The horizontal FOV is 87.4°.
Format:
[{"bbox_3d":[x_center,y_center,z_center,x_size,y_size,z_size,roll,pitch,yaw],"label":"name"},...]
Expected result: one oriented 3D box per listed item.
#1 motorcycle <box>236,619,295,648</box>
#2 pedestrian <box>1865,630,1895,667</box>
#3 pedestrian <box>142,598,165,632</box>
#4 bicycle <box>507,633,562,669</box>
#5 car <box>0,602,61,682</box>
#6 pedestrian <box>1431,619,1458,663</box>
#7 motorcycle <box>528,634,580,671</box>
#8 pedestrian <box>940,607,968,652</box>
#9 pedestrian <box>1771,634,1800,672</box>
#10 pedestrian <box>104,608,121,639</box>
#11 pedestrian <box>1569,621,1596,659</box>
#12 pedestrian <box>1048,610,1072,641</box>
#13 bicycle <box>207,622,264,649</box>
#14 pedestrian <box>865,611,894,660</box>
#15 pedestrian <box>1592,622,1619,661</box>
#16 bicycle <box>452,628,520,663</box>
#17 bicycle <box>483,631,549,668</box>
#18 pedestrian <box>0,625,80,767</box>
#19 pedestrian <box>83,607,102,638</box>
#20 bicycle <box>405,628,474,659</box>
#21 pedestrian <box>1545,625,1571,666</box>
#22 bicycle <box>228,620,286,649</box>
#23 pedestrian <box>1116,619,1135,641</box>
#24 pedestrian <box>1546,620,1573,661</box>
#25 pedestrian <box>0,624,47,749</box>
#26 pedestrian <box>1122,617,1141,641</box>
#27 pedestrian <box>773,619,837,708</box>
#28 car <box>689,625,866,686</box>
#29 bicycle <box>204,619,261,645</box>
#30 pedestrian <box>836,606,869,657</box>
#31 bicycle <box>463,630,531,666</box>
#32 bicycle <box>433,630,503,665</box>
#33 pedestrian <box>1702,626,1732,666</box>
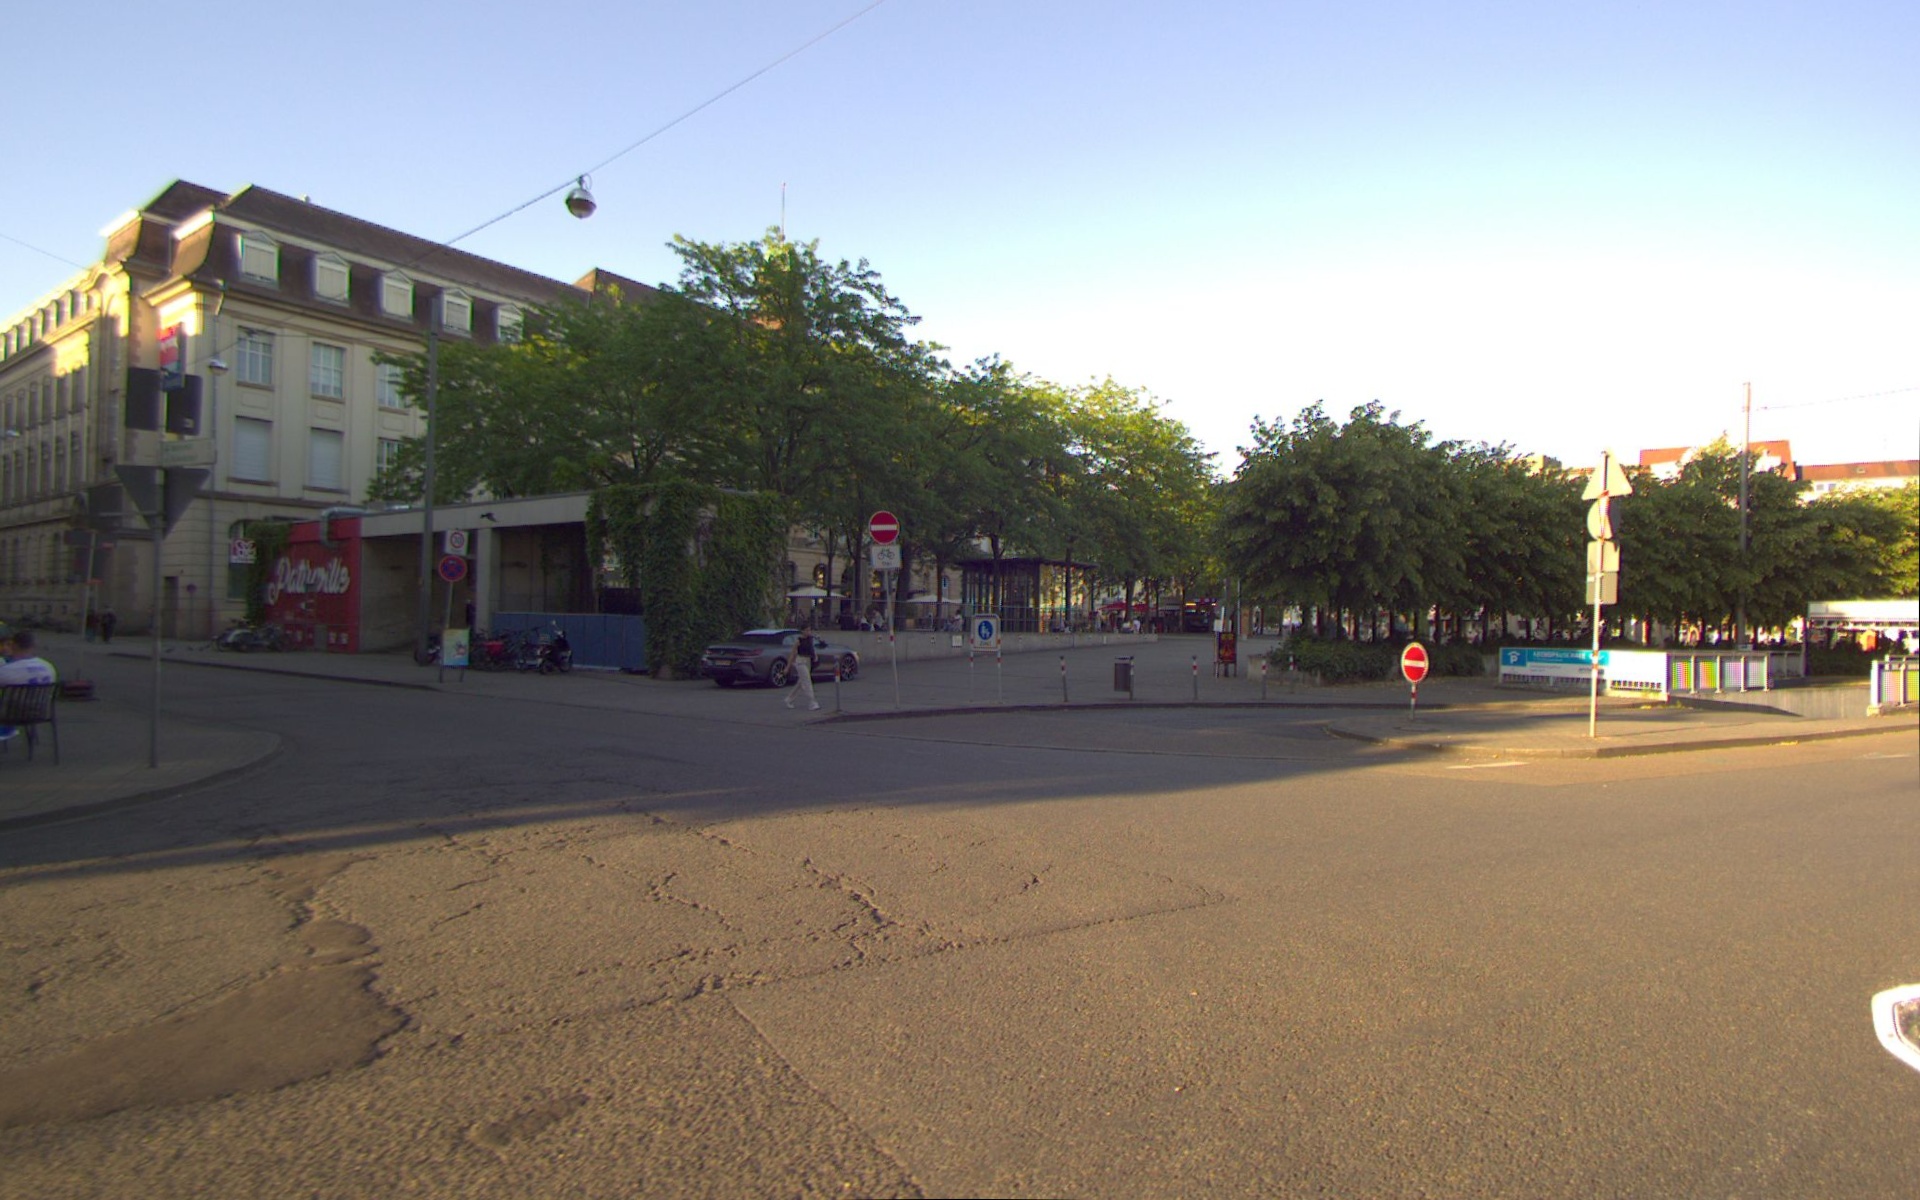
[{"bbox_3d":[-26.778,1.283,38.731,0.503,1.093,1.796,1,0,39],"label":"motorcycle"},{"bbox_3d":[41.446,2.176,45.248,0.558,1.616,0.791,2,0,-10],"label":"pedestrian"},{"bbox_3d":[-38.974,0.716,48.537,0.835,1.619,0.727,1,-1,-42],"label":"pedestrian"},{"bbox_3d":[-11.693,1.375,27.650,0.500,0.892,1.805,1,0,9],"label":"bicycle"},{"bbox_3d":[-21.502,0.862,22.009,3.936,1.617,1.963,1,-1,37],"label":"car"},{"bbox_3d":[18.084,1.518,37.478,0.693,1.616,0.673,2,0,42],"label":"pedestrian"},{"bbox_3d":[-10.947,1.404,27.145,0.500,0.892,1.805,1,0,6],"label":"motorcycle"},{"bbox_3d":[-0.216,1.087,37.121,0.778,1.607,0.652,1,-2,35],"label":"pedestrian"},{"bbox_3d":[35.634,2.288,43.350,0.665,1.616,0.678,2,0,-11],"label":"pedestrian"},{"bbox_3d":[-39.008,1.061,46.234,0.392,1.415,0.517,1,0,33],"label":"pedestrian"},{"bbox_3d":[27.000,1.724,43.589,0.558,1.616,0.791,2,0,-10],"label":"pedestrian"},{"bbox_3d":[4.355,1.115,43.737,0.778,1.296,0.652,1,-2,35],"label":"pedestrian"},{"bbox_3d":[-29.024,1.401,40.254,0.504,1.021,1.794,1,0,43],"label":"bicycle"},{"bbox_3d":[-2.702,1.192,33.616,0.612,1.607,0.699,1,-2,37],"label":"pedestrian"},{"bbox_3d":[27.343,1.767,42.568,0.558,1.616,0.791,2,0,-10],"label":"pedestrian"},{"bbox_3d":[-13.659,1.308,28.986,0.501,0.935,1.801,1,0,29],"label":"bicycle"},{"bbox_3d":[-12.428,1.370,28.171,0.501,0.935,1.802,1,0,26],"label":"bicycle"},{"bbox_3d":[-9.043,0.904,9.685,0.742,1.290,0.820,3,-2,-39],"label":"pedestrian"},{"bbox_3d":[-39.524,1.016,45.753,0.378,1.415,0.541,1,0,32],"label":"pedestrian"},{"bbox_3d":[-15.869,1.324,30.665,1.776,0.935,0.509,1,0,-18],"label":"bicycle"},{"bbox_3d":[23.866,1.810,40.111,0.558,1.616,0.678,2,0,-11],"label":"pedestrian"},{"bbox_3d":[-27.419,1.343,39.182,0.503,1.093,1.795,1,0,42],"label":"bicycle"},{"bbox_3d":[7.937,1.437,48.293,0.703,1.073,0.609,1,-1,35],"label":"pedestrian"},{"bbox_3d":[24.844,1.672,41.624,0.558,1.616,0.791,2,0,-10],"label":"pedestrian"},{"bbox_3d":[-10.138,0.884,10.447,0.822,1.263,0.716,3,-2,-36],"label":"pedestrian"},{"bbox_3d":[8.345,1.420,48.920,0.703,1.134,0.609,1,-1,35],"label":"pedestrian"},{"bbox_3d":[-2.883,1.151,18.697,0.885,1.587,0.765,0,-1,35],"label":"pedestrian"},{"bbox_3d":[-4.445,1.316,25.239,1.964,1.335,4.521,0,-1,29],"label":"car"},{"bbox_3d":[-29.421,1.270,40.623,0.504,1.021,1.794,1,0,43],"label":"bicycle"},{"bbox_3d":[-3.486,1.013,32.526,0.679,1.607,0.767,1,-2,37],"label":"pedestrian"},{"bbox_3d":[-13.063,1.334,28.412,0.501,0.935,1.801,1,0,29],"label":"bicycle"},{"bbox_3d":[-14.407,1.376,29.452,0.503,0.935,1.796,1,0,39],"label":"bicycle"},{"bbox_3d":[31.818,1.921,42.221,0.665,1.616,0.678,2,0,-11],"label":"pedestrian"}]
